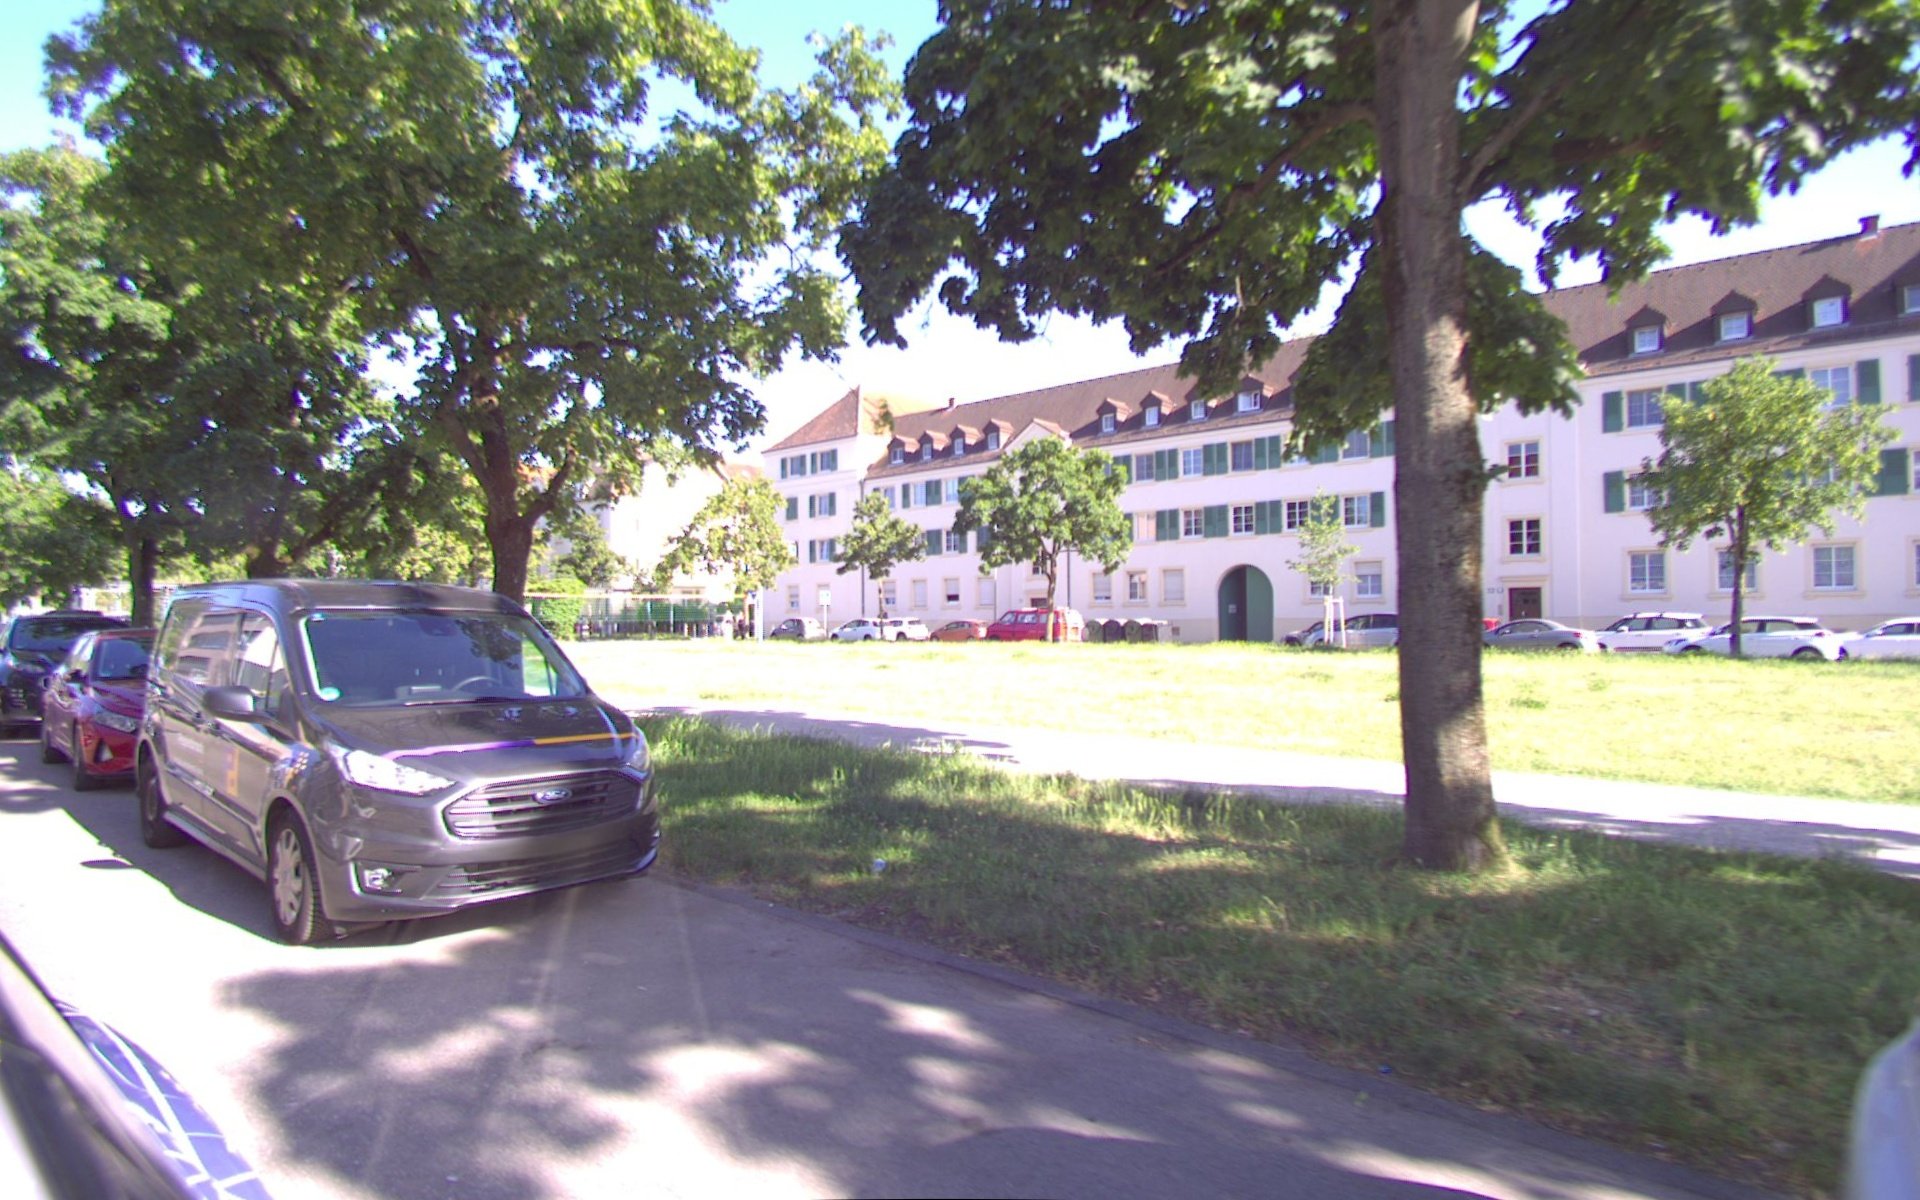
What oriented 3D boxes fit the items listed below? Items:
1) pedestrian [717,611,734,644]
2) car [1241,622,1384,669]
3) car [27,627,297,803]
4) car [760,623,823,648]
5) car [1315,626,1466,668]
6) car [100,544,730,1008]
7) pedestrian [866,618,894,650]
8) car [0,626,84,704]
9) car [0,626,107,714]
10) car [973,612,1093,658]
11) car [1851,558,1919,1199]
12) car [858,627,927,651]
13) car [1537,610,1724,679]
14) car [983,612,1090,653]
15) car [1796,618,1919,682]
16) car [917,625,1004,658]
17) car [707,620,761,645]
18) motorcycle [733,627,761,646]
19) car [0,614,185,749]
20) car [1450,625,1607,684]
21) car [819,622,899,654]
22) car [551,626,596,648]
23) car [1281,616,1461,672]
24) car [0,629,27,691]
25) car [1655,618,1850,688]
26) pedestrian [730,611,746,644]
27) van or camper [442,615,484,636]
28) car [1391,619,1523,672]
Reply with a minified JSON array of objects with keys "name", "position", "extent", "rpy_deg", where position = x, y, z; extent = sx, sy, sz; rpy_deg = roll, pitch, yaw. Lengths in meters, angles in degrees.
[{"name":"pedestrian","position":[-12.176,1.446,52.485],"extent":[0.750,1.698,0.537],"rpy_deg":[-2,-2,43]},{"name":"car","position":[15.009,1.903,43.260],"extent":[5.257,1.834,2.424],"rpy_deg":[-2,-2,43]},{"name":"car","position":[-8.239,1.005,10.317],"extent":[4.087,1.439,1.521],"rpy_deg":[-2,-2,42]},{"name":"car","position":[-9.497,2.004,56.875],"extent":[3.512,1.343,1.633],"rpy_deg":[-2,-2,40]},{"name":"car","position":[16.298,1.745,38.475],"extent":[4.955,1.496,1.973],"rpy_deg":[-1,-2,41]},{"name":"car","position":[-3.682,0.716,6.291],"extent":[4.989,1.798,1.844],"rpy_deg":[-1,-1,42]},{"name":"pedestrian","position":[-4.998,2.100,63.356],"extent":[1.161,1.978,1.327],"rpy_deg":[-1,-2,36]},{"name":"car","position":[-20.815,1.350,21.853],"extent":[5.152,1.528,1.974],"rpy_deg":[-2,-3,39]},{"name":"car","position":[-17.081,1.210,18.434],"extent":[3.803,1.429,1.860],"rpy_deg":[-1,-2,42]},{"name":"car","position":[3.282,1.590,46.263],"extent":[5.255,1.999,2.197],"rpy_deg":[-2,-2,41]},{"name":"car","position":[2.813,0.697,0.339],"extent":[3.682,1.504,1.570],"rpy_deg":[-2,-3,40]},{"name":"car","position":[-4.017,2.279,59.596],"extent":[3.998,1.366,1.750],"rpy_deg":[-2,-2,41]},{"name":"car","position":[23.663,1.525,35.806],"extent":[5.253,2.233,2.505],"rpy_deg":[-2,-2,40]},{"name":"car","position":[3.945,1.681,52.721],"extent":[5.252,1.999,2.198],"rpy_deg":[-2,-2,39]},{"name":"car","position":[28.937,1.494,30.937],"extent":[5.156,1.900,2.131],"rpy_deg":[-2,-2,41]},{"name":"car","position":[-0.011,2.269,56.128],"extent":[4.640,1.777,1.974],"rpy_deg":[-2,-2,39]},{"name":"car","position":[-18.198,2.619,81.600],"extent":[2.043,1.970,3.762],"rpy_deg":[-2,-2,43]},{"name":"motorcycle","position":[-15.522,2.652,73.654],"extent":[2.143,1.315,0.807],"rpy_deg":[-2,-2,40]},{"name":"car","position":[-12.896,1.063,14.511],"extent":[4.757,1.638,2.004],"rpy_deg":[-2,-3,43]},{"name":"car","position":[18.429,1.701,32.877],"extent":[4.009,1.763,2.292],"rpy_deg":[-2,-2,43]},{"name":"car","position":[-5.377,2.006,53.465],"extent":[4.233,1.595,1.770],"rpy_deg":[-2,-2,40]},{"name":"car","position":[-32.195,3.057,84.181],"extent":[4.000,1.807,1.929],"rpy_deg":[-2,-2,43]},{"name":"car","position":[14.636,1.539,36.230],"extent":[5.453,1.834,2.424],"rpy_deg":[-2,-2,43]},{"name":"car","position":[-25.139,1.479,25.431],"extent":[4.963,1.463,1.817],"rpy_deg":[-1,-2,39]},{"name":"car","position":[22.696,1.468,29.132],"extent":[4.253,1.834,2.214],"rpy_deg":[-2,-2,39]},{"name":"pedestrian","position":[-11.606,1.424,52.850],"extent":[0.537,1.698,0.674],"rpy_deg":[1,-2,-44]},{"name":"van or camper","position":[-48.405,2.460,98.579],"extent":[4.373,2.029,2.244],"rpy_deg":[-1,-1,42]},{"name":"car","position":[19.323,1.731,39.415],"extent":[4.164,1.919,2.240],"rpy_deg":[-2,-2,40]}]
